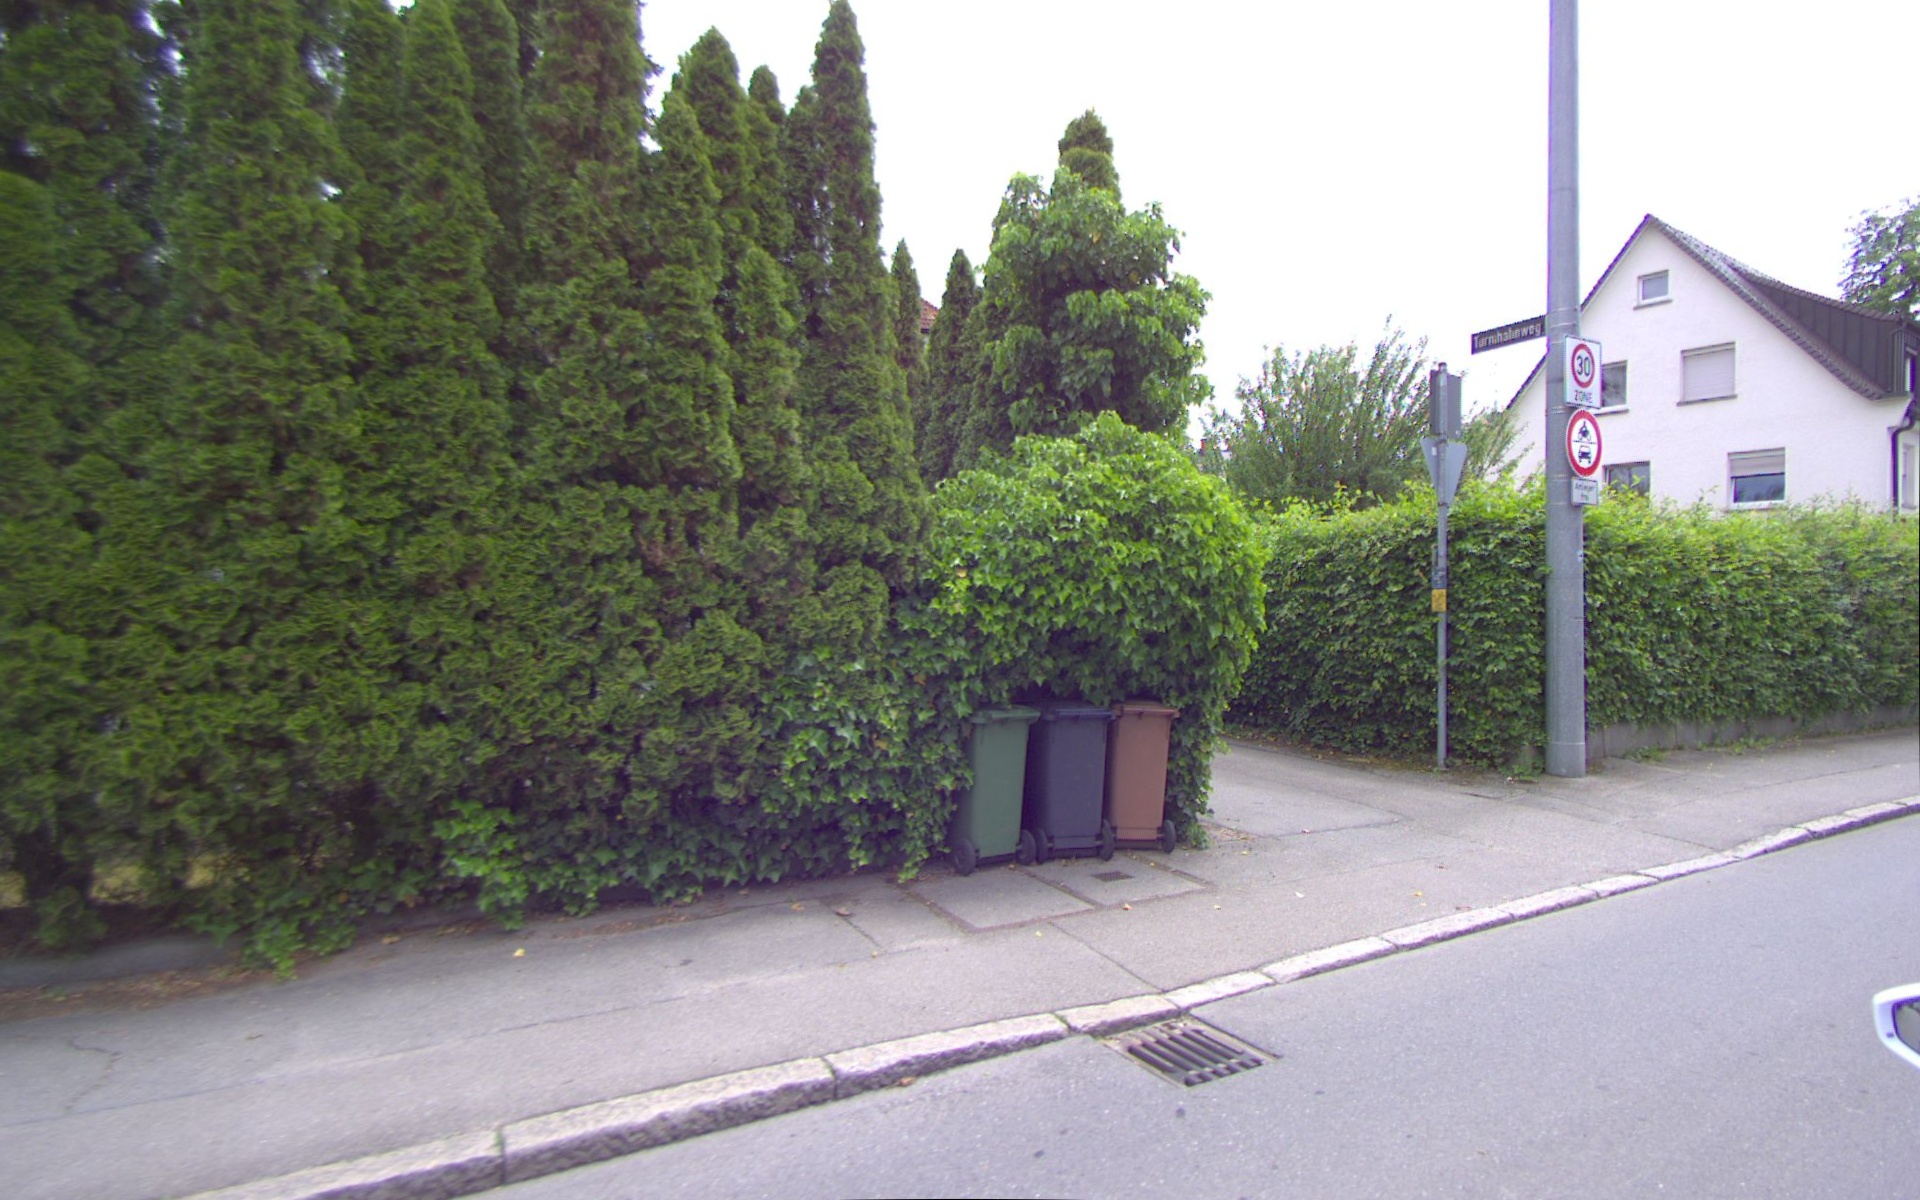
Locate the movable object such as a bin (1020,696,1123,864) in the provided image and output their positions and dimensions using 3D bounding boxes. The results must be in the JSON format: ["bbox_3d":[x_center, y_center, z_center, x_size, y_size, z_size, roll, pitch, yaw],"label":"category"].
[{"bbox_3d":[0.655,1.040,5.925,0.470,0.905,0.335,1,1,-27],"label":"movable object such as a bin"}]

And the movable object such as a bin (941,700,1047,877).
[{"bbox_3d":[0.190,1.044,5.671,0.470,0.905,0.335,1,1,-27],"label":"movable object such as a bin"}]

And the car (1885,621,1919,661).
[{"bbox_3d":[38.171,1.614,38.197,1.783,1.451,4.227,-2,1,-8],"label":"car"}]

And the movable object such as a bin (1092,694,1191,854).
[{"bbox_3d":[1.121,1.059,6.223,0.470,0.905,0.335,1,1,-27],"label":"movable object such as a bin"}]
